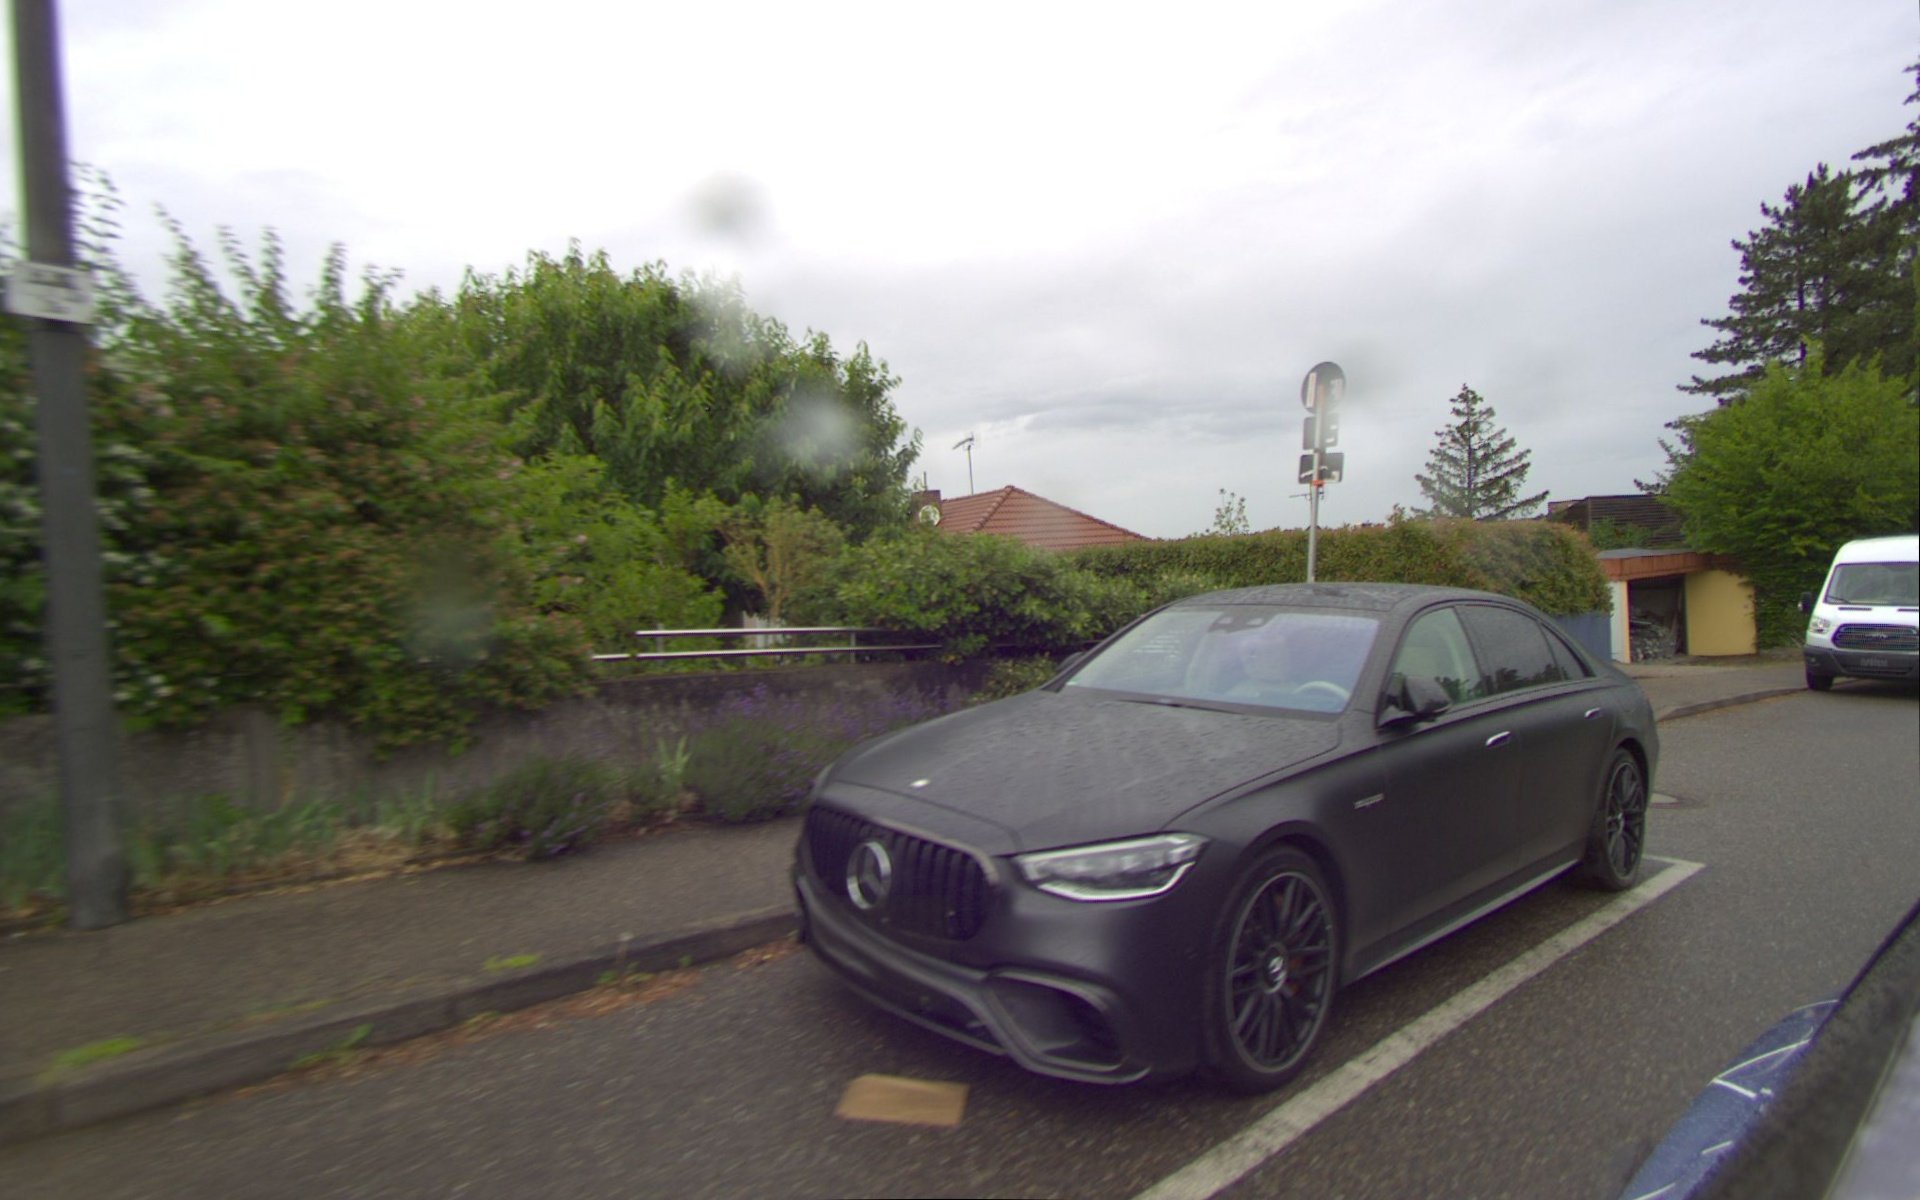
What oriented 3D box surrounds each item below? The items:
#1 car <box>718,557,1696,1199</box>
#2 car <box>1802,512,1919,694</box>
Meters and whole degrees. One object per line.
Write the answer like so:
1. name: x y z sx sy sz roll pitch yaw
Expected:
1. car: 1.582 0.646 4.712 4.974 1.546 1.861 0 1 -41
2. car: 15.904 0.016 16.429 6.066 2.582 2.078 -1 1 -37
